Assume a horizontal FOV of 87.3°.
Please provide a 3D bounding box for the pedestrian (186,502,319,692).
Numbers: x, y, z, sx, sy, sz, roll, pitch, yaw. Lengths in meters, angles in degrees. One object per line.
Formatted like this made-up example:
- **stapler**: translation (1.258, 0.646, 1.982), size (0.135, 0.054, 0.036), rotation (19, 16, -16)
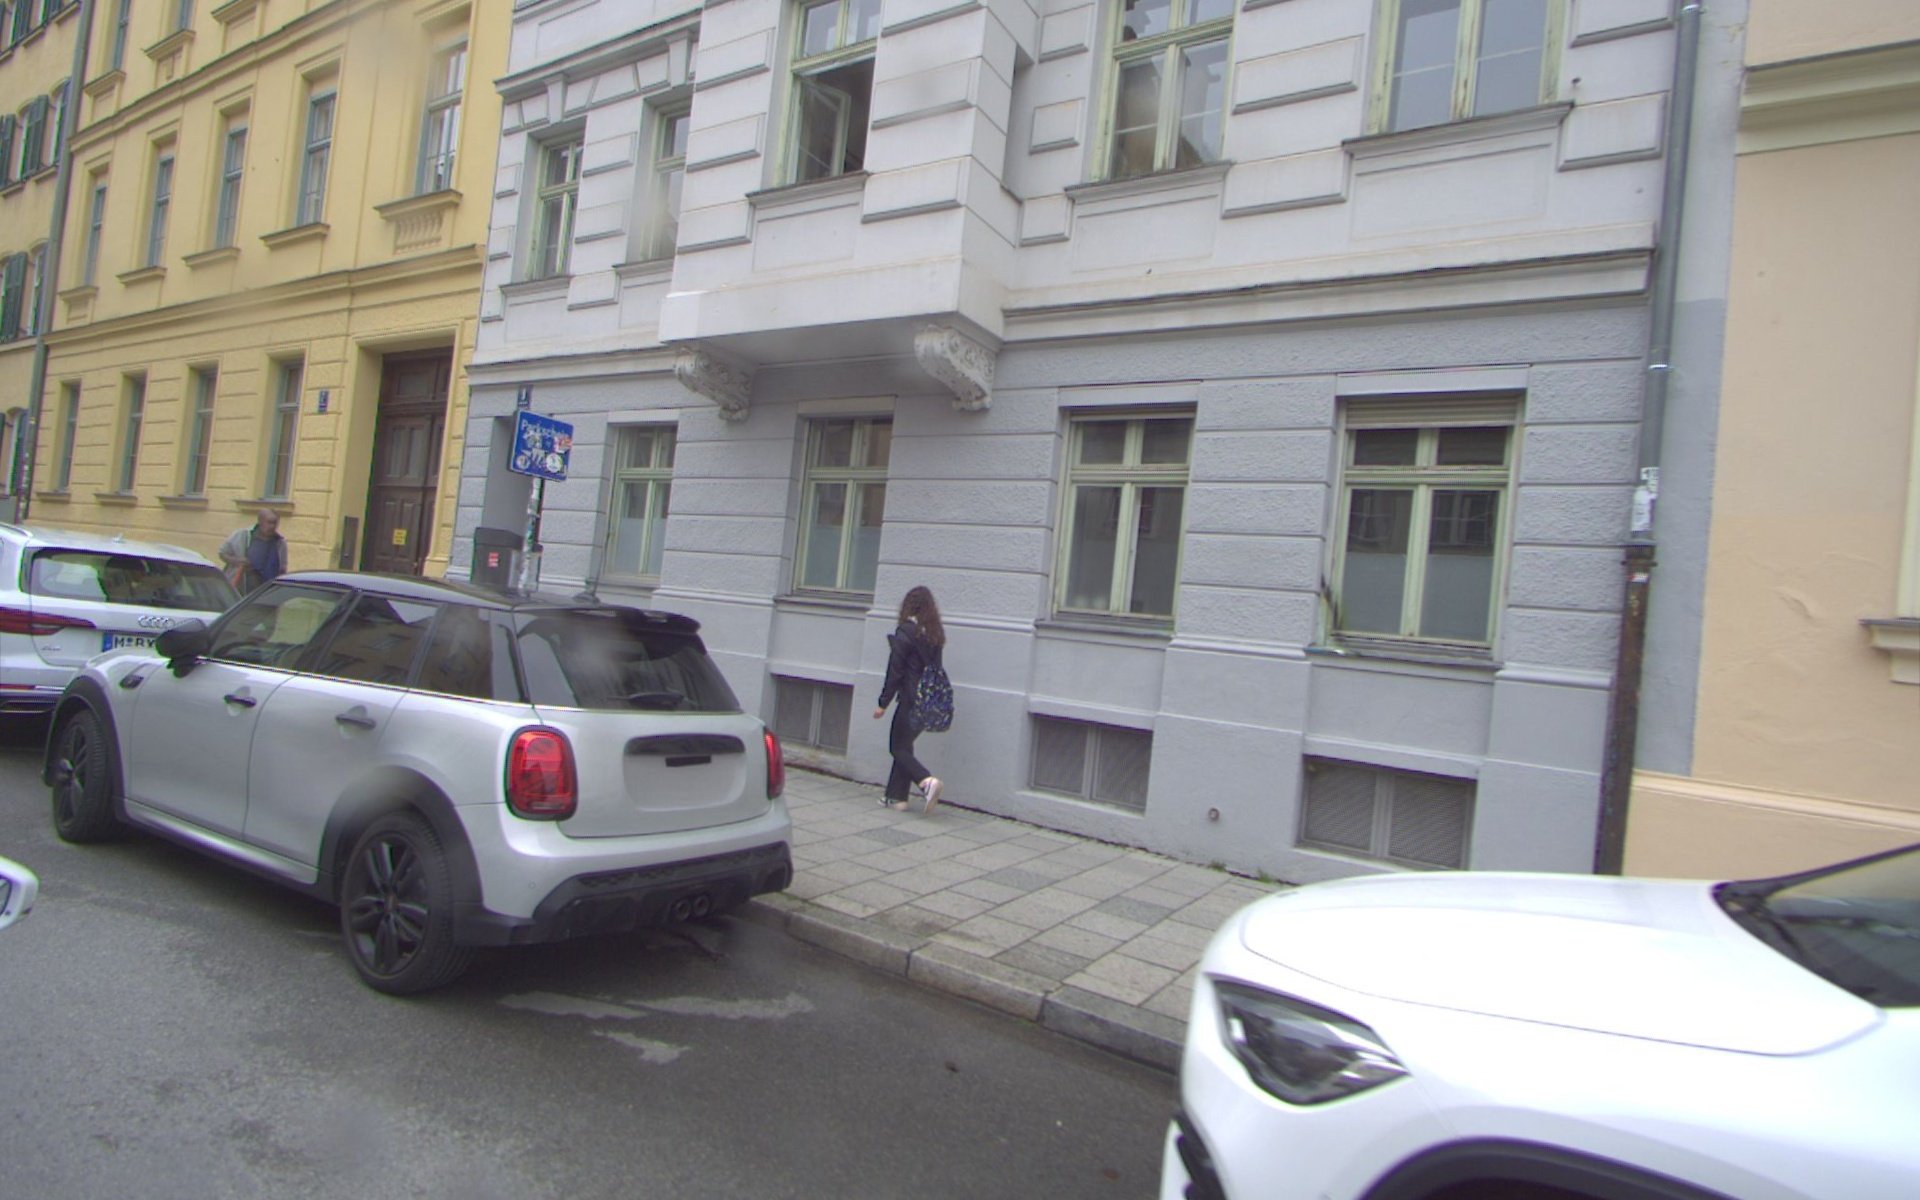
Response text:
- **pedestrian**: translation (-7.476, -0.028, 10.644), size (0.791, 1.884, 0.703), rotation (6, -1, 30)

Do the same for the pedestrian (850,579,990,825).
- **pedestrian**: translation (-0.276, 0.693, 7.114), size (0.614, 1.595, 0.645), rotation (6, 1, 29)

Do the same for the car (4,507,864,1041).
- **car**: translation (-2.620, 0.536, 4.867), size (3.869, 1.527, 1.721), rotation (6, -2, 29)

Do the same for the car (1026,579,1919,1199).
- **car**: translation (2.414, 1.021, 1.613), size (4.251, 1.620, 1.720), rotation (6, -2, 31)

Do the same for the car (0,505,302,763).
- **car**: translation (-7.155, 0.097, 7.770), size (4.396, 1.527, 1.719), rotation (6, -2, 33)
